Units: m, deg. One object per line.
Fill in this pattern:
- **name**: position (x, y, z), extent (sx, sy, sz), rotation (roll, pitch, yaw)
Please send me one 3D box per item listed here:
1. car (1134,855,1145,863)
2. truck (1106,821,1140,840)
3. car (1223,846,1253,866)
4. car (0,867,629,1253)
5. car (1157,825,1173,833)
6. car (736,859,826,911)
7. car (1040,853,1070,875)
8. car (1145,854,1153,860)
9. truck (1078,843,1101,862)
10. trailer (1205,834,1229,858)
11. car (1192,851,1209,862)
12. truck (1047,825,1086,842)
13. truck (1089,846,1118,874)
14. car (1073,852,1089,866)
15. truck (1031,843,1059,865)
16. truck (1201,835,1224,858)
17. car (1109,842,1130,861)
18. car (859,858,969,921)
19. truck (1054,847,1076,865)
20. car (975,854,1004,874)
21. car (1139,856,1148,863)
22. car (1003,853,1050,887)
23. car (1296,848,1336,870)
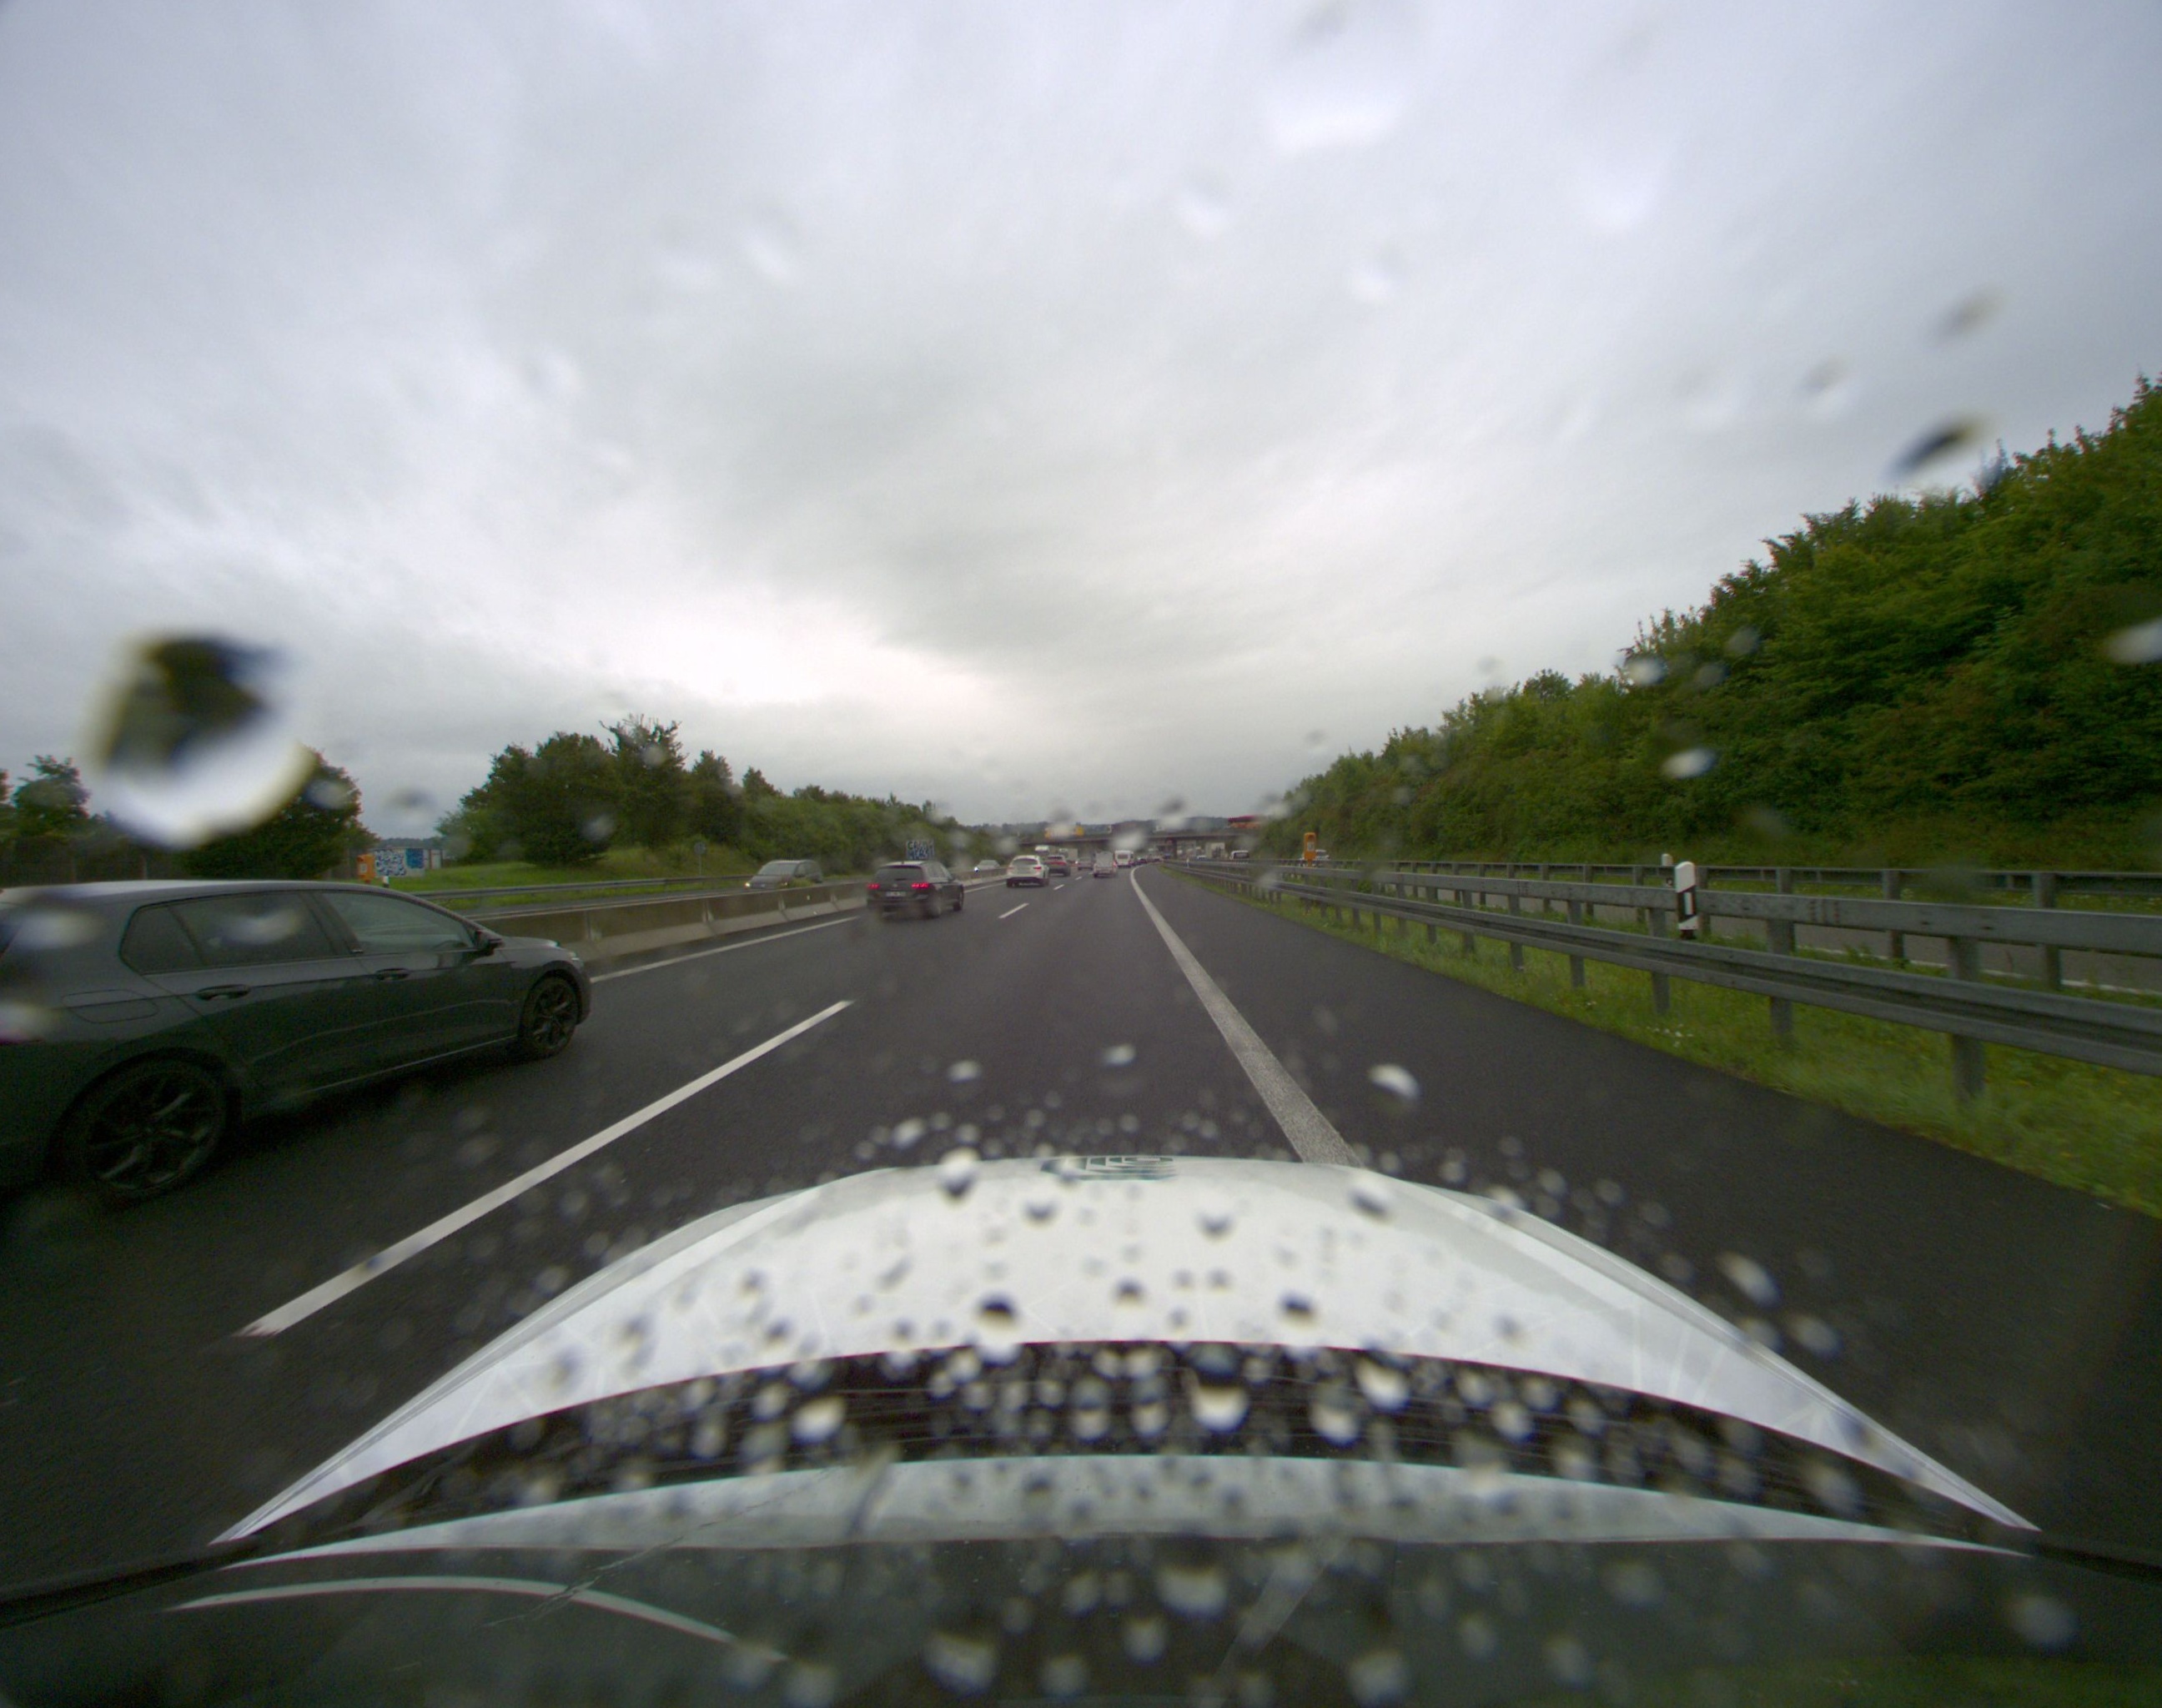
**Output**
- **car**: position (11.983, 1.029, 167.167), extent (1.988, 1.750, 3.997), rotation (0, 0, -2)
- **truck**: position (11.484, -6.291, 222.695), extent (3.795, 4.836, 9.933), rotation (-1, 0, -36)
- **car**: position (15.167, 0.192, 78.831), extent (2.002, 1.815, 4.274), rotation (-1, 0, -1)
- **car**: position (-5.073, 0.851, 5.055), extent (1.893, 1.405, 4.461), rotation (-1, 0, 2)
- **car**: position (21.510, -6.326, 207.482), extent (1.852, 1.915, 3.955), rotation (0, 0, -37)
- **car**: position (-11.785, 1.170, 32.302), extent (1.987, 1.902, 4.172), rotation (0, 0, 0)
- **car**: position (-2.046, 0.772, 65.868), extent (2.166, 1.631, 4.502), rotation (-1, 0, 1)
- **car**: position (19.910, 0.760, 238.650), extent (1.985, 1.750, 4.004), rotation (0, 0, 3)
- **truck**: position (1.781, -0.267, 165.428), extent (3.749, 3.554, 13.202), rotation (-1, 0, 4)
- **trailer**: position (25.127, -1.419, 150.608), extent (3.421, 4.289, 10.467), rotation (-1, 0, 4)
- **car**: position (17.481, 0.325, 119.466), extent (2.000, 1.548, 4.697), rotation (-1, 0, 2)
- **truck**: position (-4.441, -6.089, 245.064), extent (3.795, 4.836, 15.076), rotation (-1, 0, -36)
- **truck**: position (1.773, 0.400, 62.437), extent (2.011, 1.985, 7.216), rotation (-1, 0, 2)
- **car**: position (0.016, 0.627, 99.921), extent (1.894, 1.613, 4.016), rotation (-1, 0, 0)
- **truck**: position (-6.812, 0.002, 155.984), extent (3.749, 3.992, 13.202), rotation (-1, 0, 4)
- **truck**: position (25.899, -1.472, 161.039), extent (3.422, 4.289, 10.430), rotation (-1, 0, 4)
- **car**: position (5.873, -0.393, 122.856), extent (3.004, 2.616, 6.079), rotation (-1, 0, 3)
- **car**: position (-4.413, 0.891, 22.295), extent (1.894, 1.497, 4.852), rotation (-1, -1, 1)
- **truck**: position (-3.592, 0.478, 187.591), extent (3.749, 3.992, 13.202), rotation (-1, 0, 4)
- **car**: position (-8.692, 0.961, 77.765), extent (1.985, 1.813, 4.176), rotation (0, 0, 3)
- **car**: position (15.783, 1.303, 206.437), extent (1.986, 1.750, 4.002), rotation (0, 0, 2)
- **car**: position (-2.800, 0.794, 43.040), extent (1.968, 1.639, 4.503), rotation (-1, 0, 2)
- **car**: position (17.760, 0.377, 61.671), extent (1.889, 1.612, 4.148), rotation (-1, 0, 2)
